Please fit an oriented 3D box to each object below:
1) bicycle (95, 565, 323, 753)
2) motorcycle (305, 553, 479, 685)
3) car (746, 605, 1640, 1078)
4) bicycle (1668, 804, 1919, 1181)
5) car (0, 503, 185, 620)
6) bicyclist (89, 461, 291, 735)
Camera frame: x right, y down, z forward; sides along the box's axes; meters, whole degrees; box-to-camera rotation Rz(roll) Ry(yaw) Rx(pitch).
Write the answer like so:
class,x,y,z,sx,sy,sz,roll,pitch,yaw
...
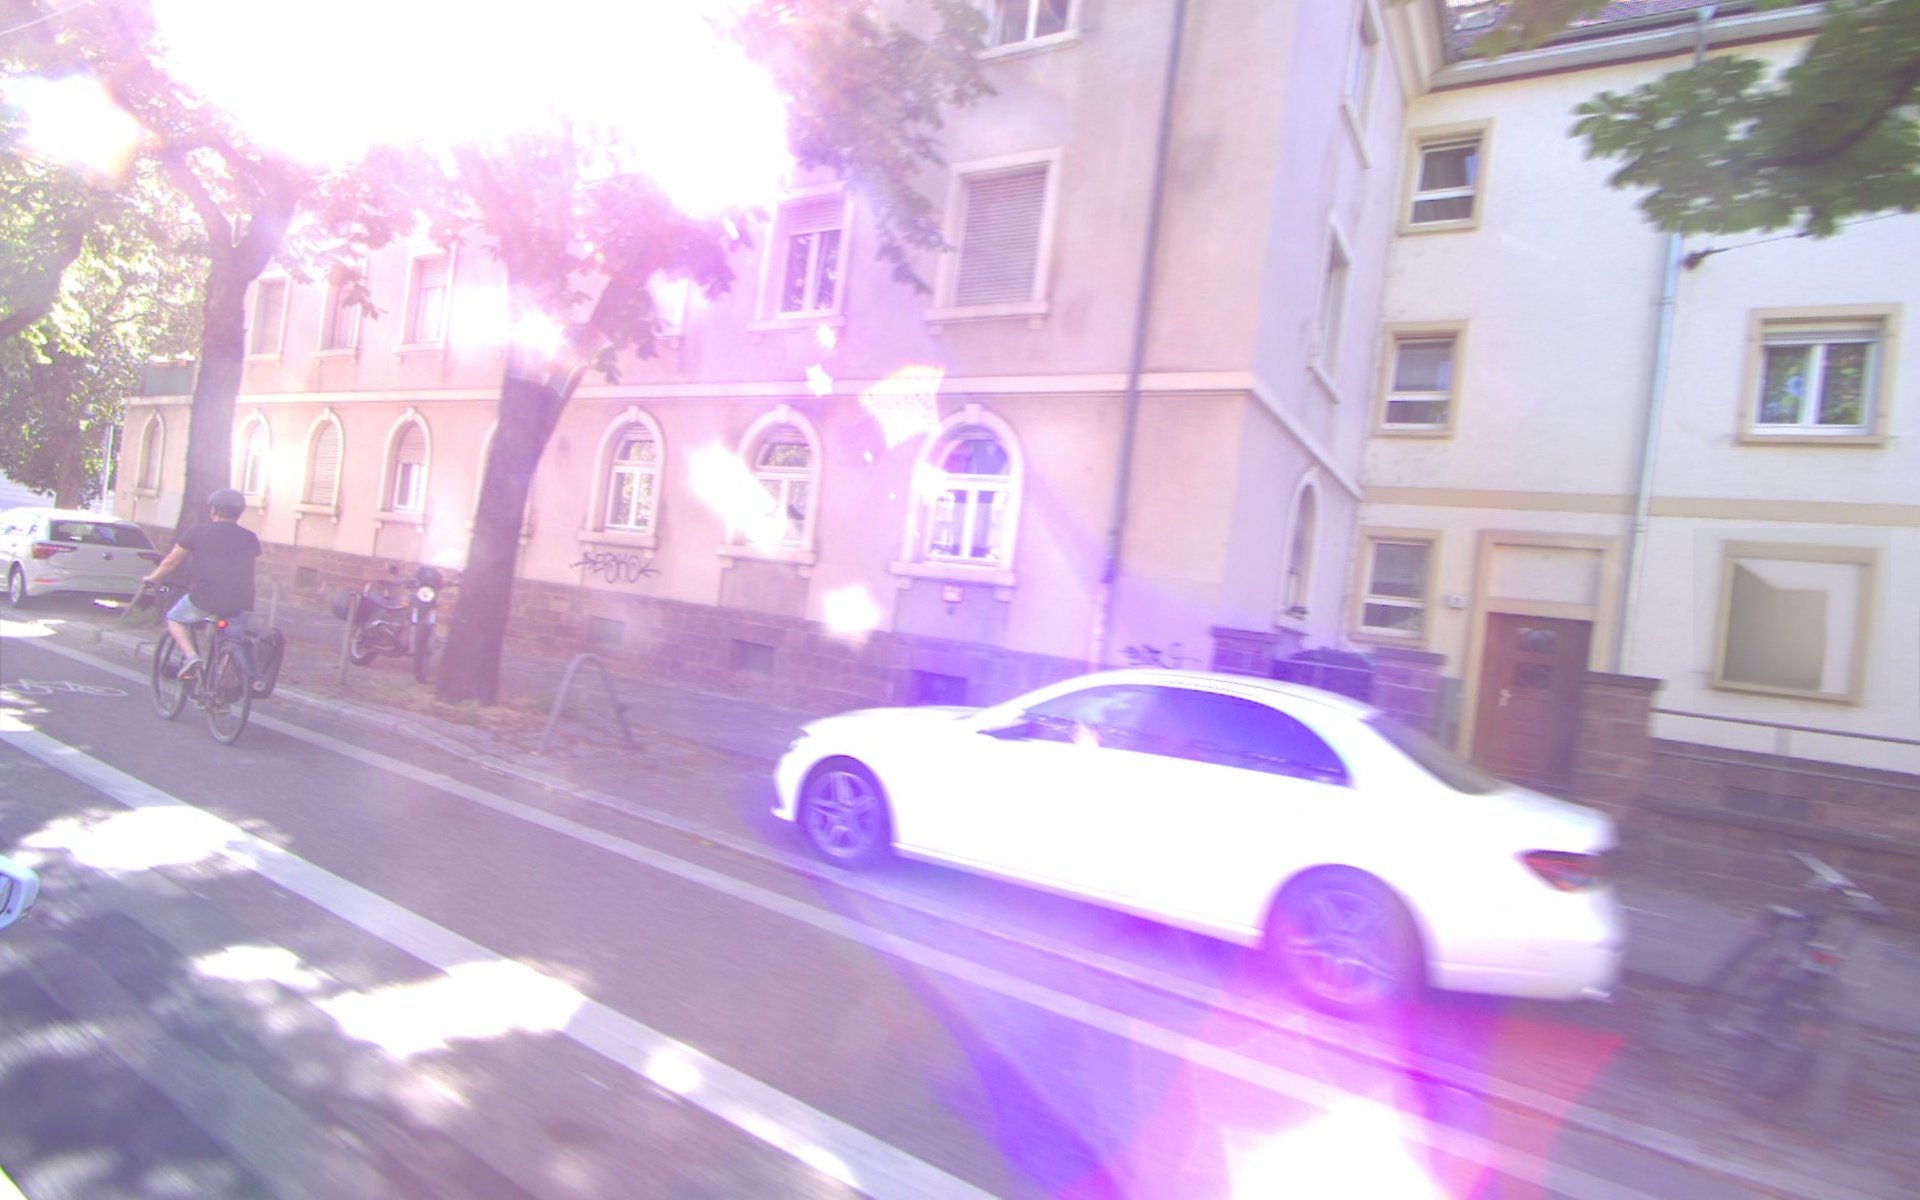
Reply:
class,x,y,z,sx,sy,sz,roll,pitch,yaw
bicycle,-5.597,0.418,7.473,1.690,1.125,0.693,7,-2,32
motorcycle,-6.617,0.200,11.672,2.148,1.258,0.710,7,0,32
car,1.099,1.057,5.967,4.585,1.454,1.631,7,0,29
bicycle,3.722,1.607,4.556,0.610,1.032,1.793,7,1,31
car,-14.117,-0.664,15.780,3.934,1.438,1.750,7,0,32
bicyclist,-5.660,-0.003,7.407,0.823,1.869,0.729,7,-1,31
